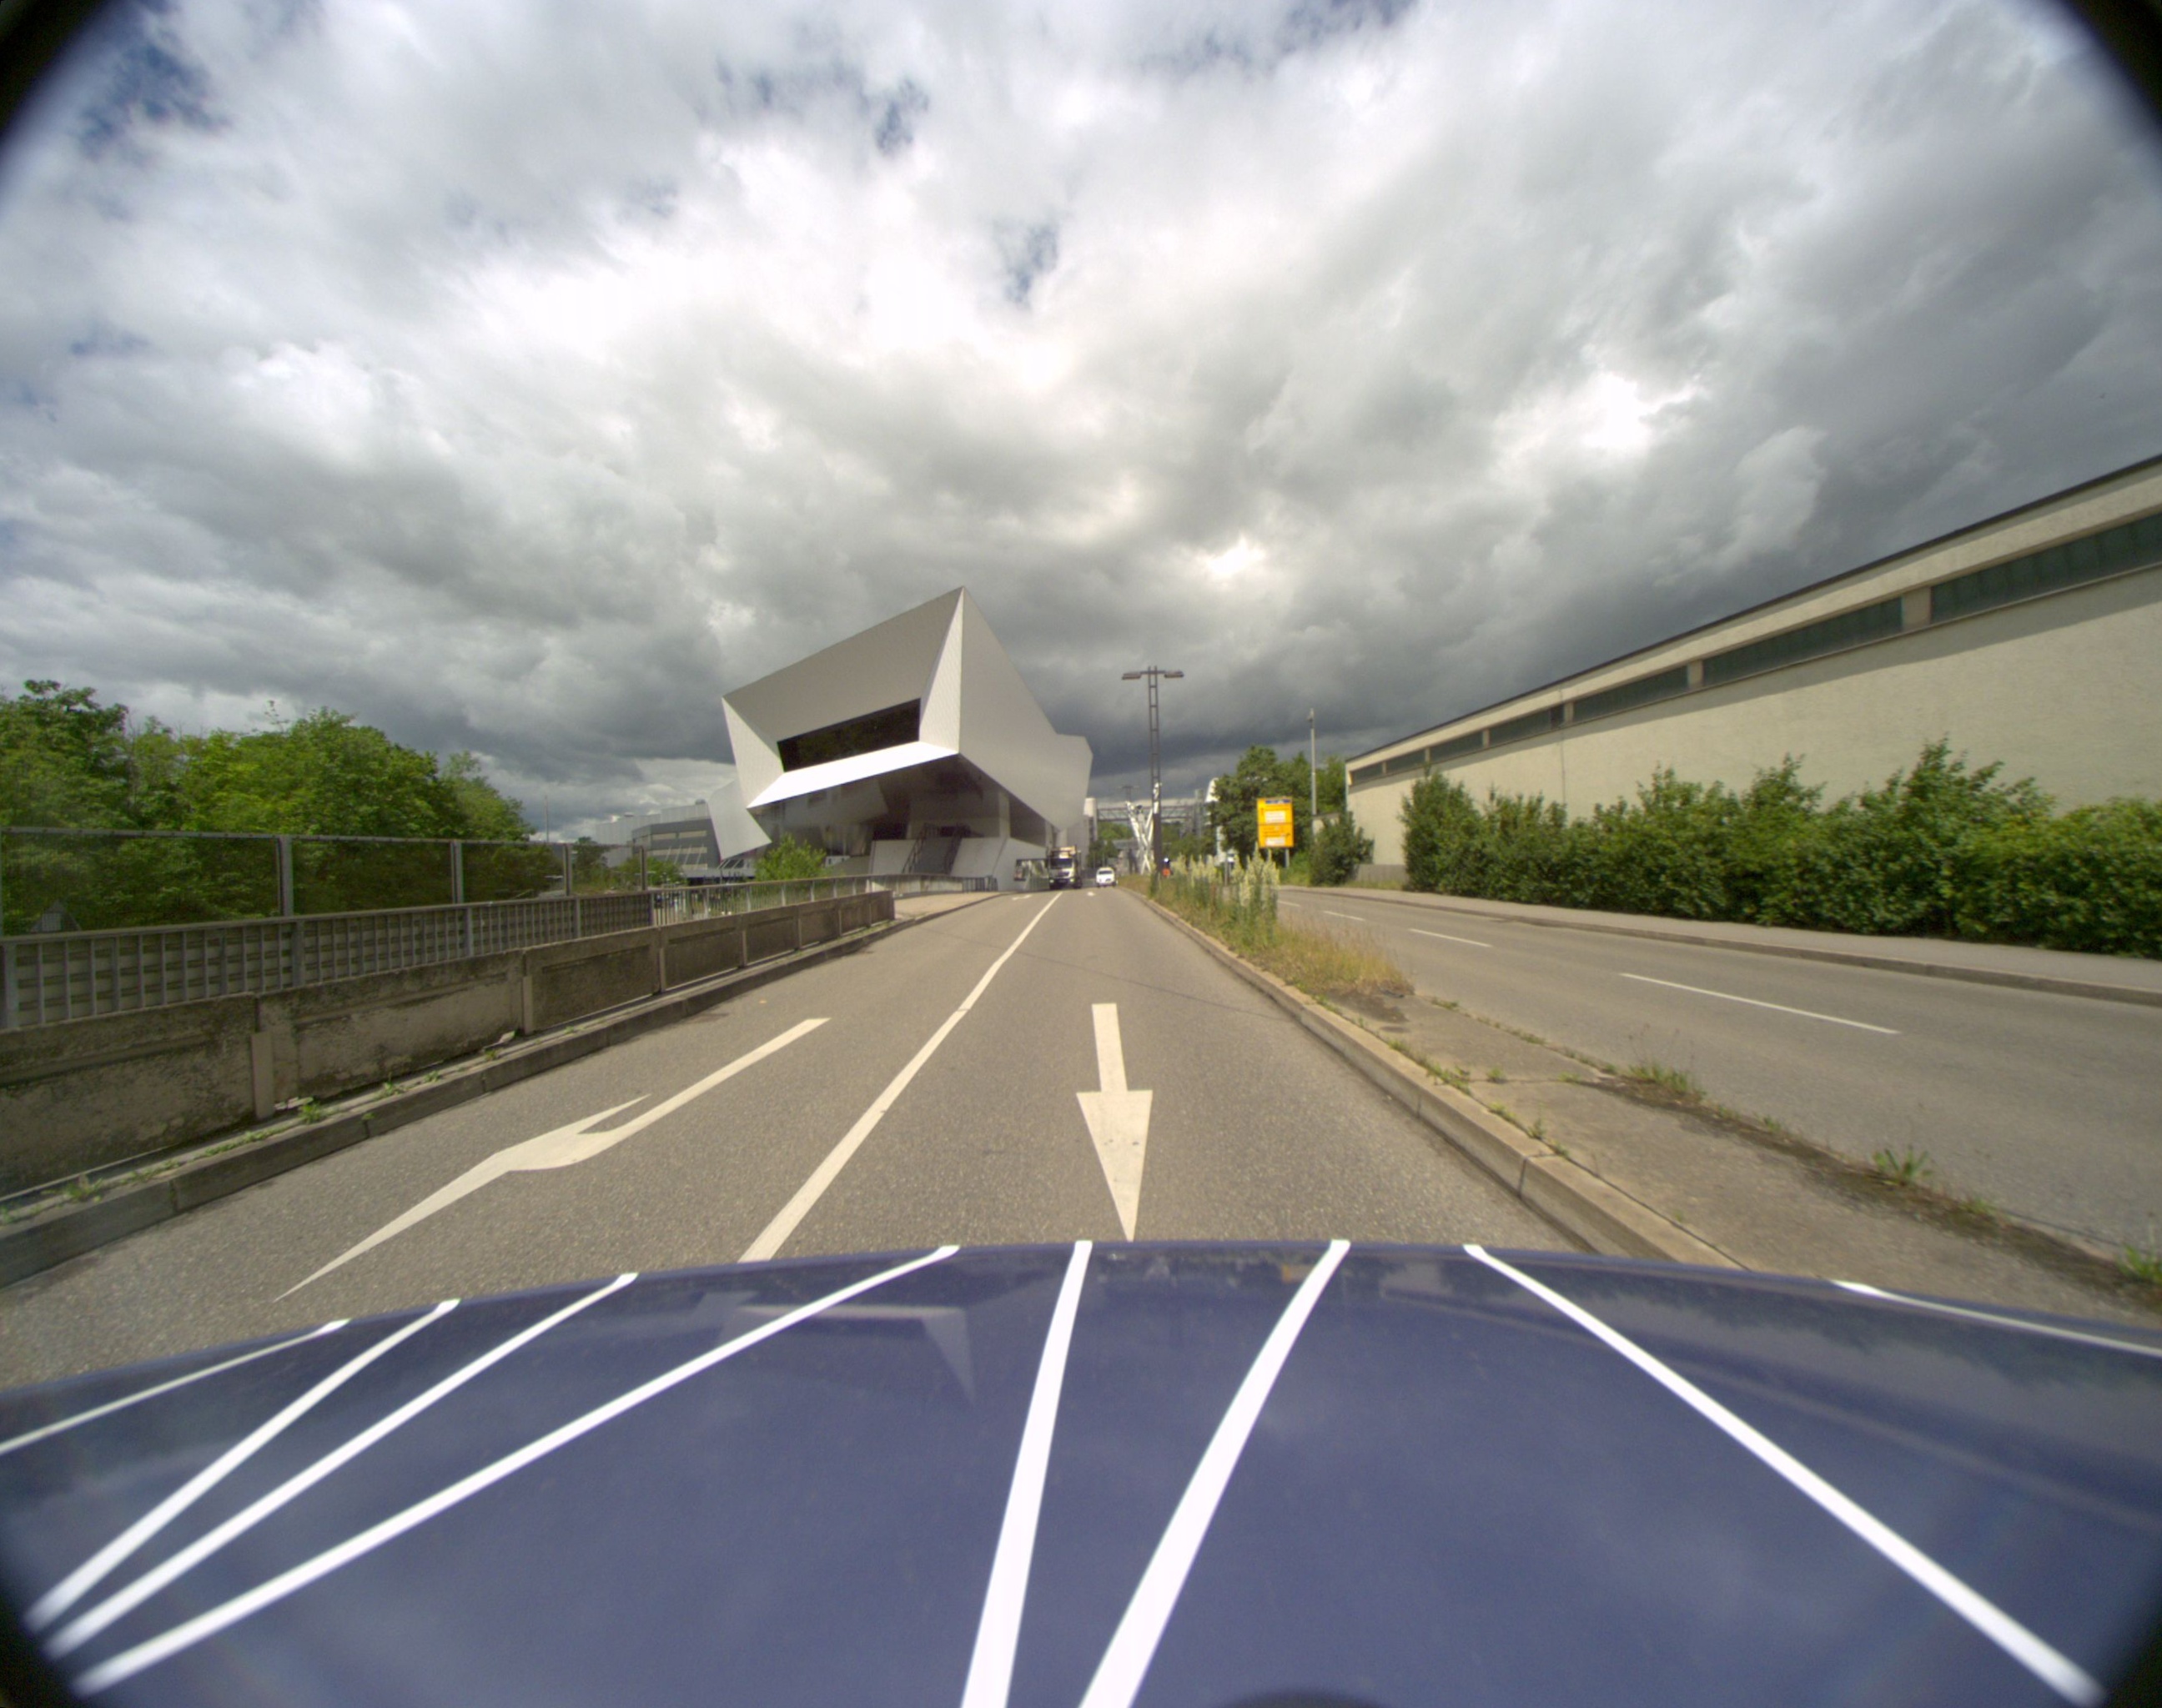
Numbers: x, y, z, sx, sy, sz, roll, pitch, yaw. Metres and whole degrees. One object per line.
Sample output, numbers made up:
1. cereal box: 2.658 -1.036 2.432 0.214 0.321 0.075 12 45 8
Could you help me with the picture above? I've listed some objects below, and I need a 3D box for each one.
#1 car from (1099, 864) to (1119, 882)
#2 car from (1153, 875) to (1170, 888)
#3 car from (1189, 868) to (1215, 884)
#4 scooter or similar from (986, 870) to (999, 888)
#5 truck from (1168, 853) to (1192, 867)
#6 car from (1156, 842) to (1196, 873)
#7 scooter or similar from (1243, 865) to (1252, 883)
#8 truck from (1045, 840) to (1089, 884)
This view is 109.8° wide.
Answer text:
1. car: 2.912 1.971 80.019 1.986 1.702 4.761 -2 0 1
2. car: 10.776 3.672 101.965 1.882 1.617 4.445 0 -1 1
3. car: 10.219 1.818 64.268 1.758 1.268 4.001 1 0 3
4. scooter or similar: -6.248 1.758 53.510 0.655 1.206 1.858 -1 -1 1
5. truck: 29.137 1.876 224.129 2.364 3.545 8.975 -2 -2 -24
6. car: 6.146 0.246 49.705 1.998 1.877 4.869 -2 -1 0
7. scooter or similar: 12.947 1.552 59.111 0.492 1.296 1.644 -3 -2 6
8. truck: -1.170 0.812 70.592 2.842 3.668 10.760 -2 -1 5
